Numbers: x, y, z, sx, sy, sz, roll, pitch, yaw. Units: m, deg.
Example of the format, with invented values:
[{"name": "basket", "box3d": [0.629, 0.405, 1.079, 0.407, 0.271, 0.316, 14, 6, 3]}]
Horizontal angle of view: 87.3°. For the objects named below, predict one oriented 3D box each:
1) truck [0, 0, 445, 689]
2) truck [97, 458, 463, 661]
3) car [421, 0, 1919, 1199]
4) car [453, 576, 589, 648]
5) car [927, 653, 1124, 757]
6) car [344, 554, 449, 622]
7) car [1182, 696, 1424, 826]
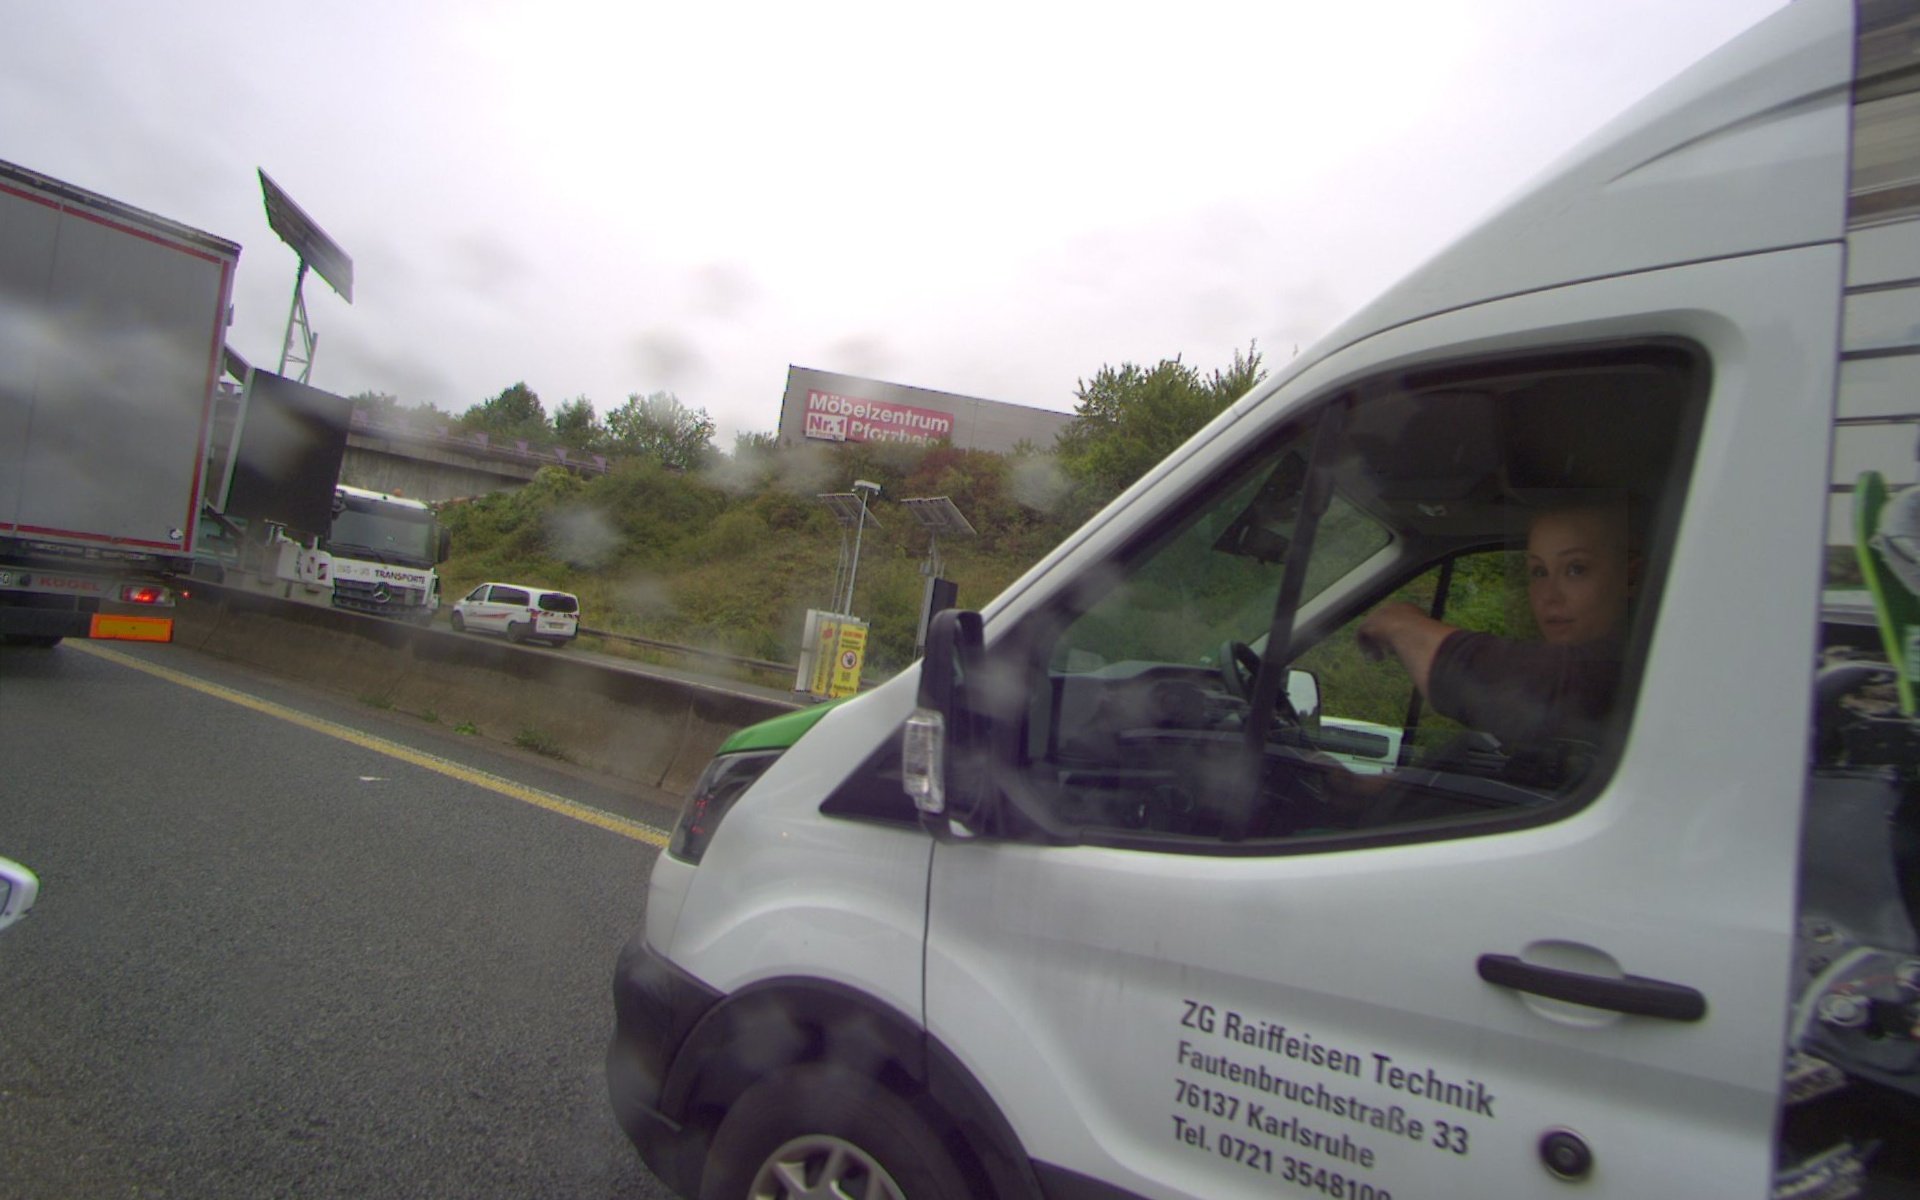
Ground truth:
[{"name": "truck", "box3d": [-14.824, -3.123, 13.508, 20.041, 5.739, 3.986, 6, -1, 32]}, {"name": "truck", "box3d": [-14.121, -0.964, 20.542, 8.968, 3.168, 2.525, 6, -1, 32]}, {"name": "car", "box3d": [2.100, 0.401, 1.473, 6.016, 2.707, 2.148, 7, -1, 32]}, {"name": "car", "box3d": [-15.106, 0.409, 34.500, 4.652, 1.850, 1.945, 6, -2, 34]}, {"name": "car", "box3d": [1.531, 2.454, 23.944, 4.197, 1.778, 1.732, 7, -1, 31]}, {"name": "car", "box3d": [-21.714, -0.466, 38.716, 4.058, 2.082, 1.731, 6, -1, 34]}, {"name": "car", "box3d": [6.950, 3.172, 20.497, 4.257, 1.790, 1.732, 7, -1, 31]}]
